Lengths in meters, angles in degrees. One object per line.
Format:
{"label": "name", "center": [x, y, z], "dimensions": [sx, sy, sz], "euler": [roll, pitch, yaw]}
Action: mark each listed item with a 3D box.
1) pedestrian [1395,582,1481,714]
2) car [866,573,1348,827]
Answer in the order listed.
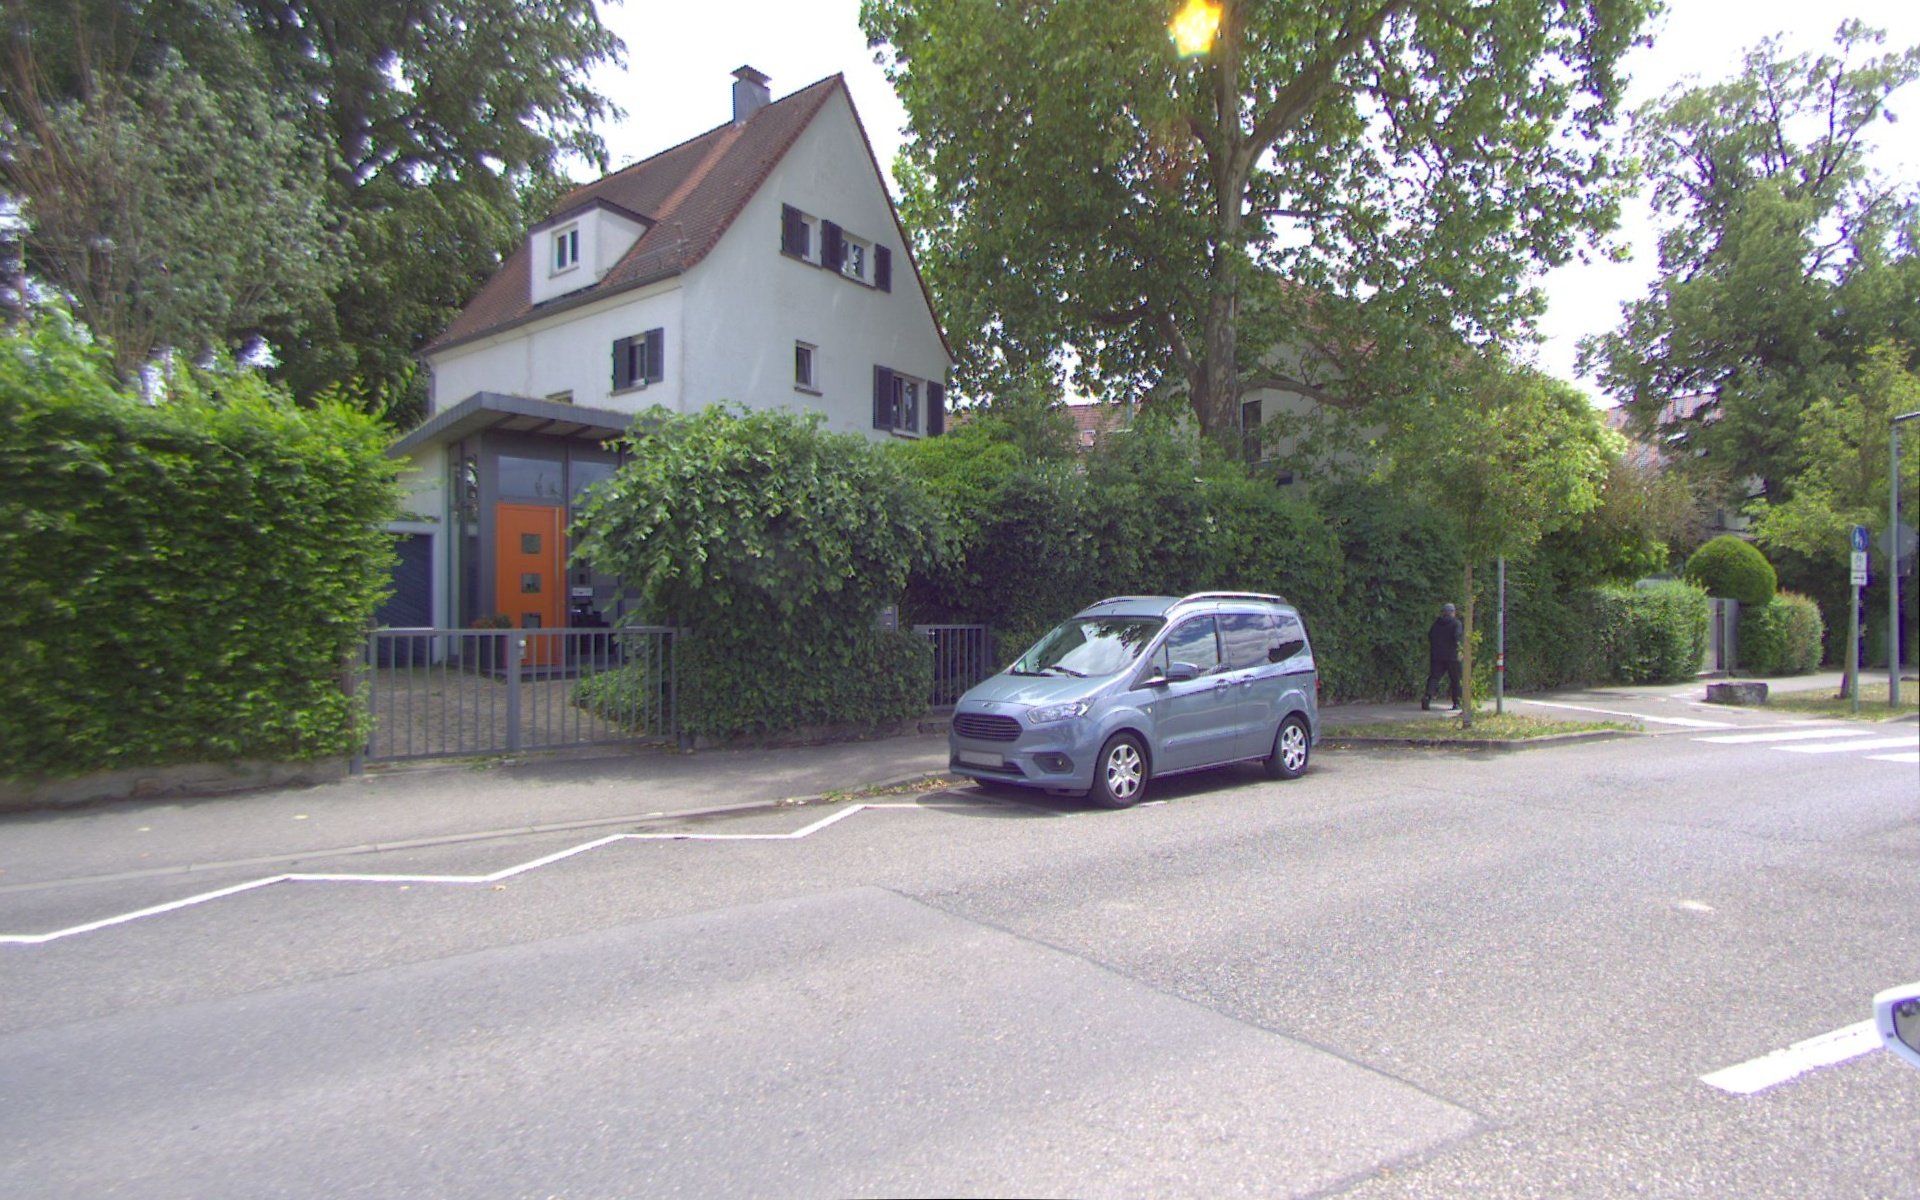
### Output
{"label": "pedestrian", "center": [7.705, 0.761, 16.204], "dimensions": [1.032, 2.040, 0.865], "euler": [0, -2, -38]}
{"label": "car", "center": [1.532, 0.688, 9.395], "dimensions": [4.430, 1.796, 2.113], "euler": [0, 1, -42]}
